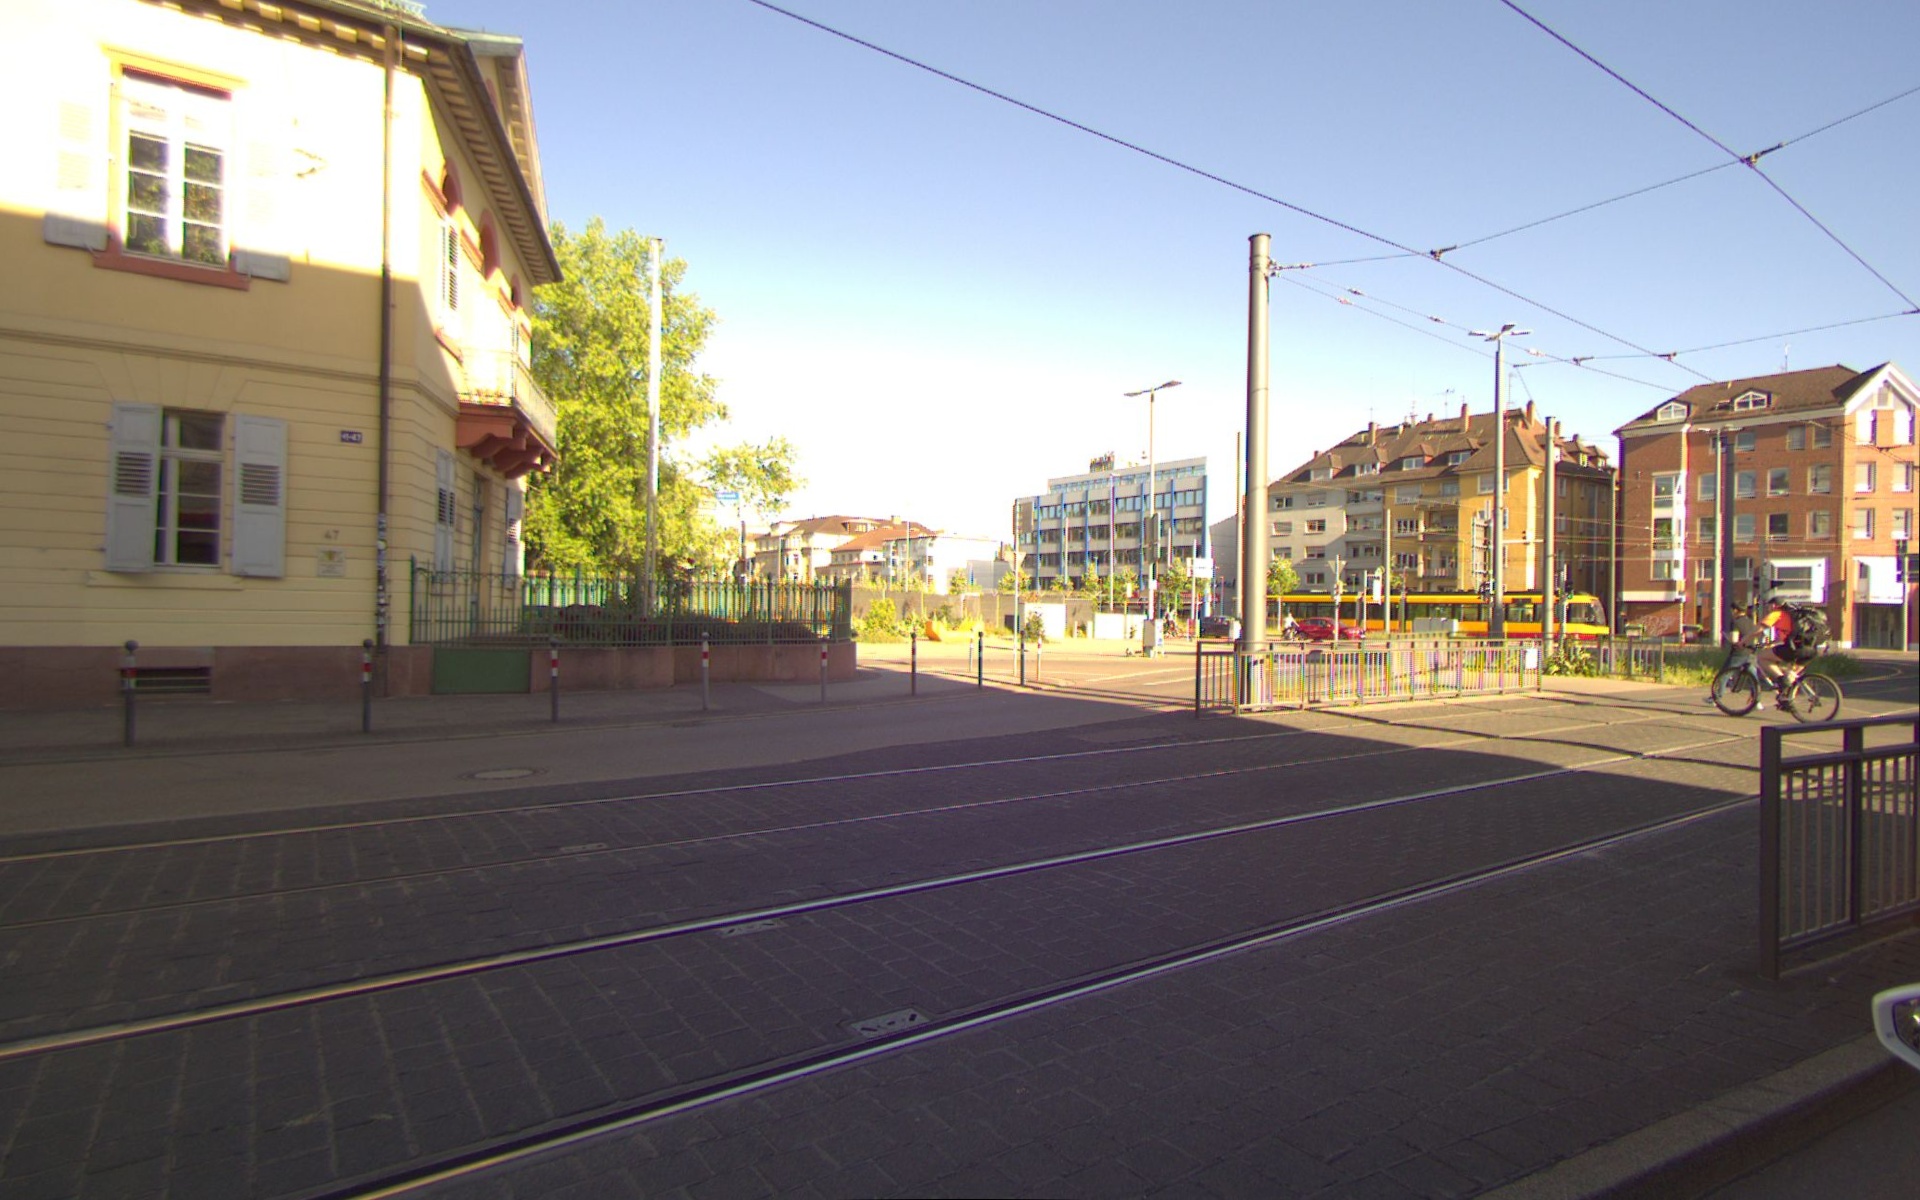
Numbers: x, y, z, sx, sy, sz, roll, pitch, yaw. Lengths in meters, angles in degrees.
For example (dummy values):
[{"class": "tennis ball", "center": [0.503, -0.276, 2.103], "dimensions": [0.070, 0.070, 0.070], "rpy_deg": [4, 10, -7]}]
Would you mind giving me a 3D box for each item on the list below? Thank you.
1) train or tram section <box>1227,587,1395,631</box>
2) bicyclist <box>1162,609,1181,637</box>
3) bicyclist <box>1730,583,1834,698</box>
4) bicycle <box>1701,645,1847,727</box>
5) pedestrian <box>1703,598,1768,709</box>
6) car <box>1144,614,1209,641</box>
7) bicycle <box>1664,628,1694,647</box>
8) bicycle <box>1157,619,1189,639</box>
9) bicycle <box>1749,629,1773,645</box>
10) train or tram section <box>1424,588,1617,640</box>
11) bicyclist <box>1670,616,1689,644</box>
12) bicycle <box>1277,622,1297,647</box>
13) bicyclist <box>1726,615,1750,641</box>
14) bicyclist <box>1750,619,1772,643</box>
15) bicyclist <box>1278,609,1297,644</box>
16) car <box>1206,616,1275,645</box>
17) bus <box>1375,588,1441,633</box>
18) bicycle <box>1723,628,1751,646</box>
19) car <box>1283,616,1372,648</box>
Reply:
[{"class": "train or tram section", "center": [27.806, 0.624, 80.657], "dimensions": [2.708, 3.172, 13.576], "rpy_deg": [2, 0, -36]}, {"class": "bicyclist", "center": [13.981, 1.520, 66.340], "dimensions": [0.785, 1.832, 0.892], "rpy_deg": [2, 0, -42]}, {"class": "bicyclist", "center": [11.424, 0.543, 13.984], "dimensions": [0.386, 1.542, 1.038], "rpy_deg": [2, 0, -21]}, {"class": "bicycle", "center": [11.379, 1.173, 14.107], "dimensions": [0.397, 1.007, 1.595], "rpy_deg": [2, 0, -20]}, {"class": "pedestrian", "center": [12.337, 0.832, 15.972], "dimensions": [0.766, 1.703, 0.586], "rpy_deg": [2, 0, -35]}, {"class": "car", "center": [14.748, 1.864, 68.577], "dimensions": [1.895, 1.708, 3.916], "rpy_deg": [2, 0, -41]}, {"class": "bicycle", "center": [39.664, 2.056, 55.387], "dimensions": [2.220, 0.984, 0.444], "rpy_deg": [2, 0, -31]}, {"class": "bicycle", "center": [14.030, 1.892, 66.269], "dimensions": [0.542, 1.230, 2.168], "rpy_deg": [2, 0, -41]}, {"class": "bicycle", "center": [50.360, 2.332, 63.153], "dimensions": [1.669, 0.994, 0.403], "rpy_deg": [2, 0, -22]}, {"class": "train or tram section", "center": [37.759, 0.862, 68.207], "dimensions": [2.784, 3.172, 11.130], "rpy_deg": [2, 0, -41]}, {"class": "bicyclist", "center": [39.676, 1.640, 55.389], "dimensions": [0.688, 1.523, 0.630], "rpy_deg": [2, 0, -30]}, {"class": "bicycle", "center": [17.412, 1.830, 53.518], "dimensions": [0.476, 1.238, 1.855], "rpy_deg": [2, 0, 3]}, {"class": "bicyclist", "center": [45.537, 1.630, 58.831], "dimensions": [0.688, 1.523, 0.894], "rpy_deg": [2, 0, -30]}, {"class": "bicyclist", "center": [50.376, 1.944, 63.173], "dimensions": [0.958, 1.490, 0.702], "rpy_deg": [1, 0, -22]}, {"class": "bicyclist", "center": [17.469, 1.407, 53.579], "dimensions": [0.743, 1.783, 0.753], "rpy_deg": [2, 0, 2]}, {"class": "car", "center": [18.007, 1.935, 64.586], "dimensions": [1.762, 1.694, 3.955], "rpy_deg": [2, 0, -39]}, {"class": "bus", "center": [32.888, 0.743, 73.808], "dimensions": [2.747, 3.172, 3.488], "rpy_deg": [2, 0, -39]}, {"class": "bicycle", "center": [45.524, 2.161, 58.845], "dimensions": [2.220, 0.984, 0.521], "rpy_deg": [2, 0, -31]}, {"class": "car", "center": [21.873, 1.878, 59.904], "dimensions": [1.984, 1.723, 4.545], "rpy_deg": [2, 0, -41]}]
